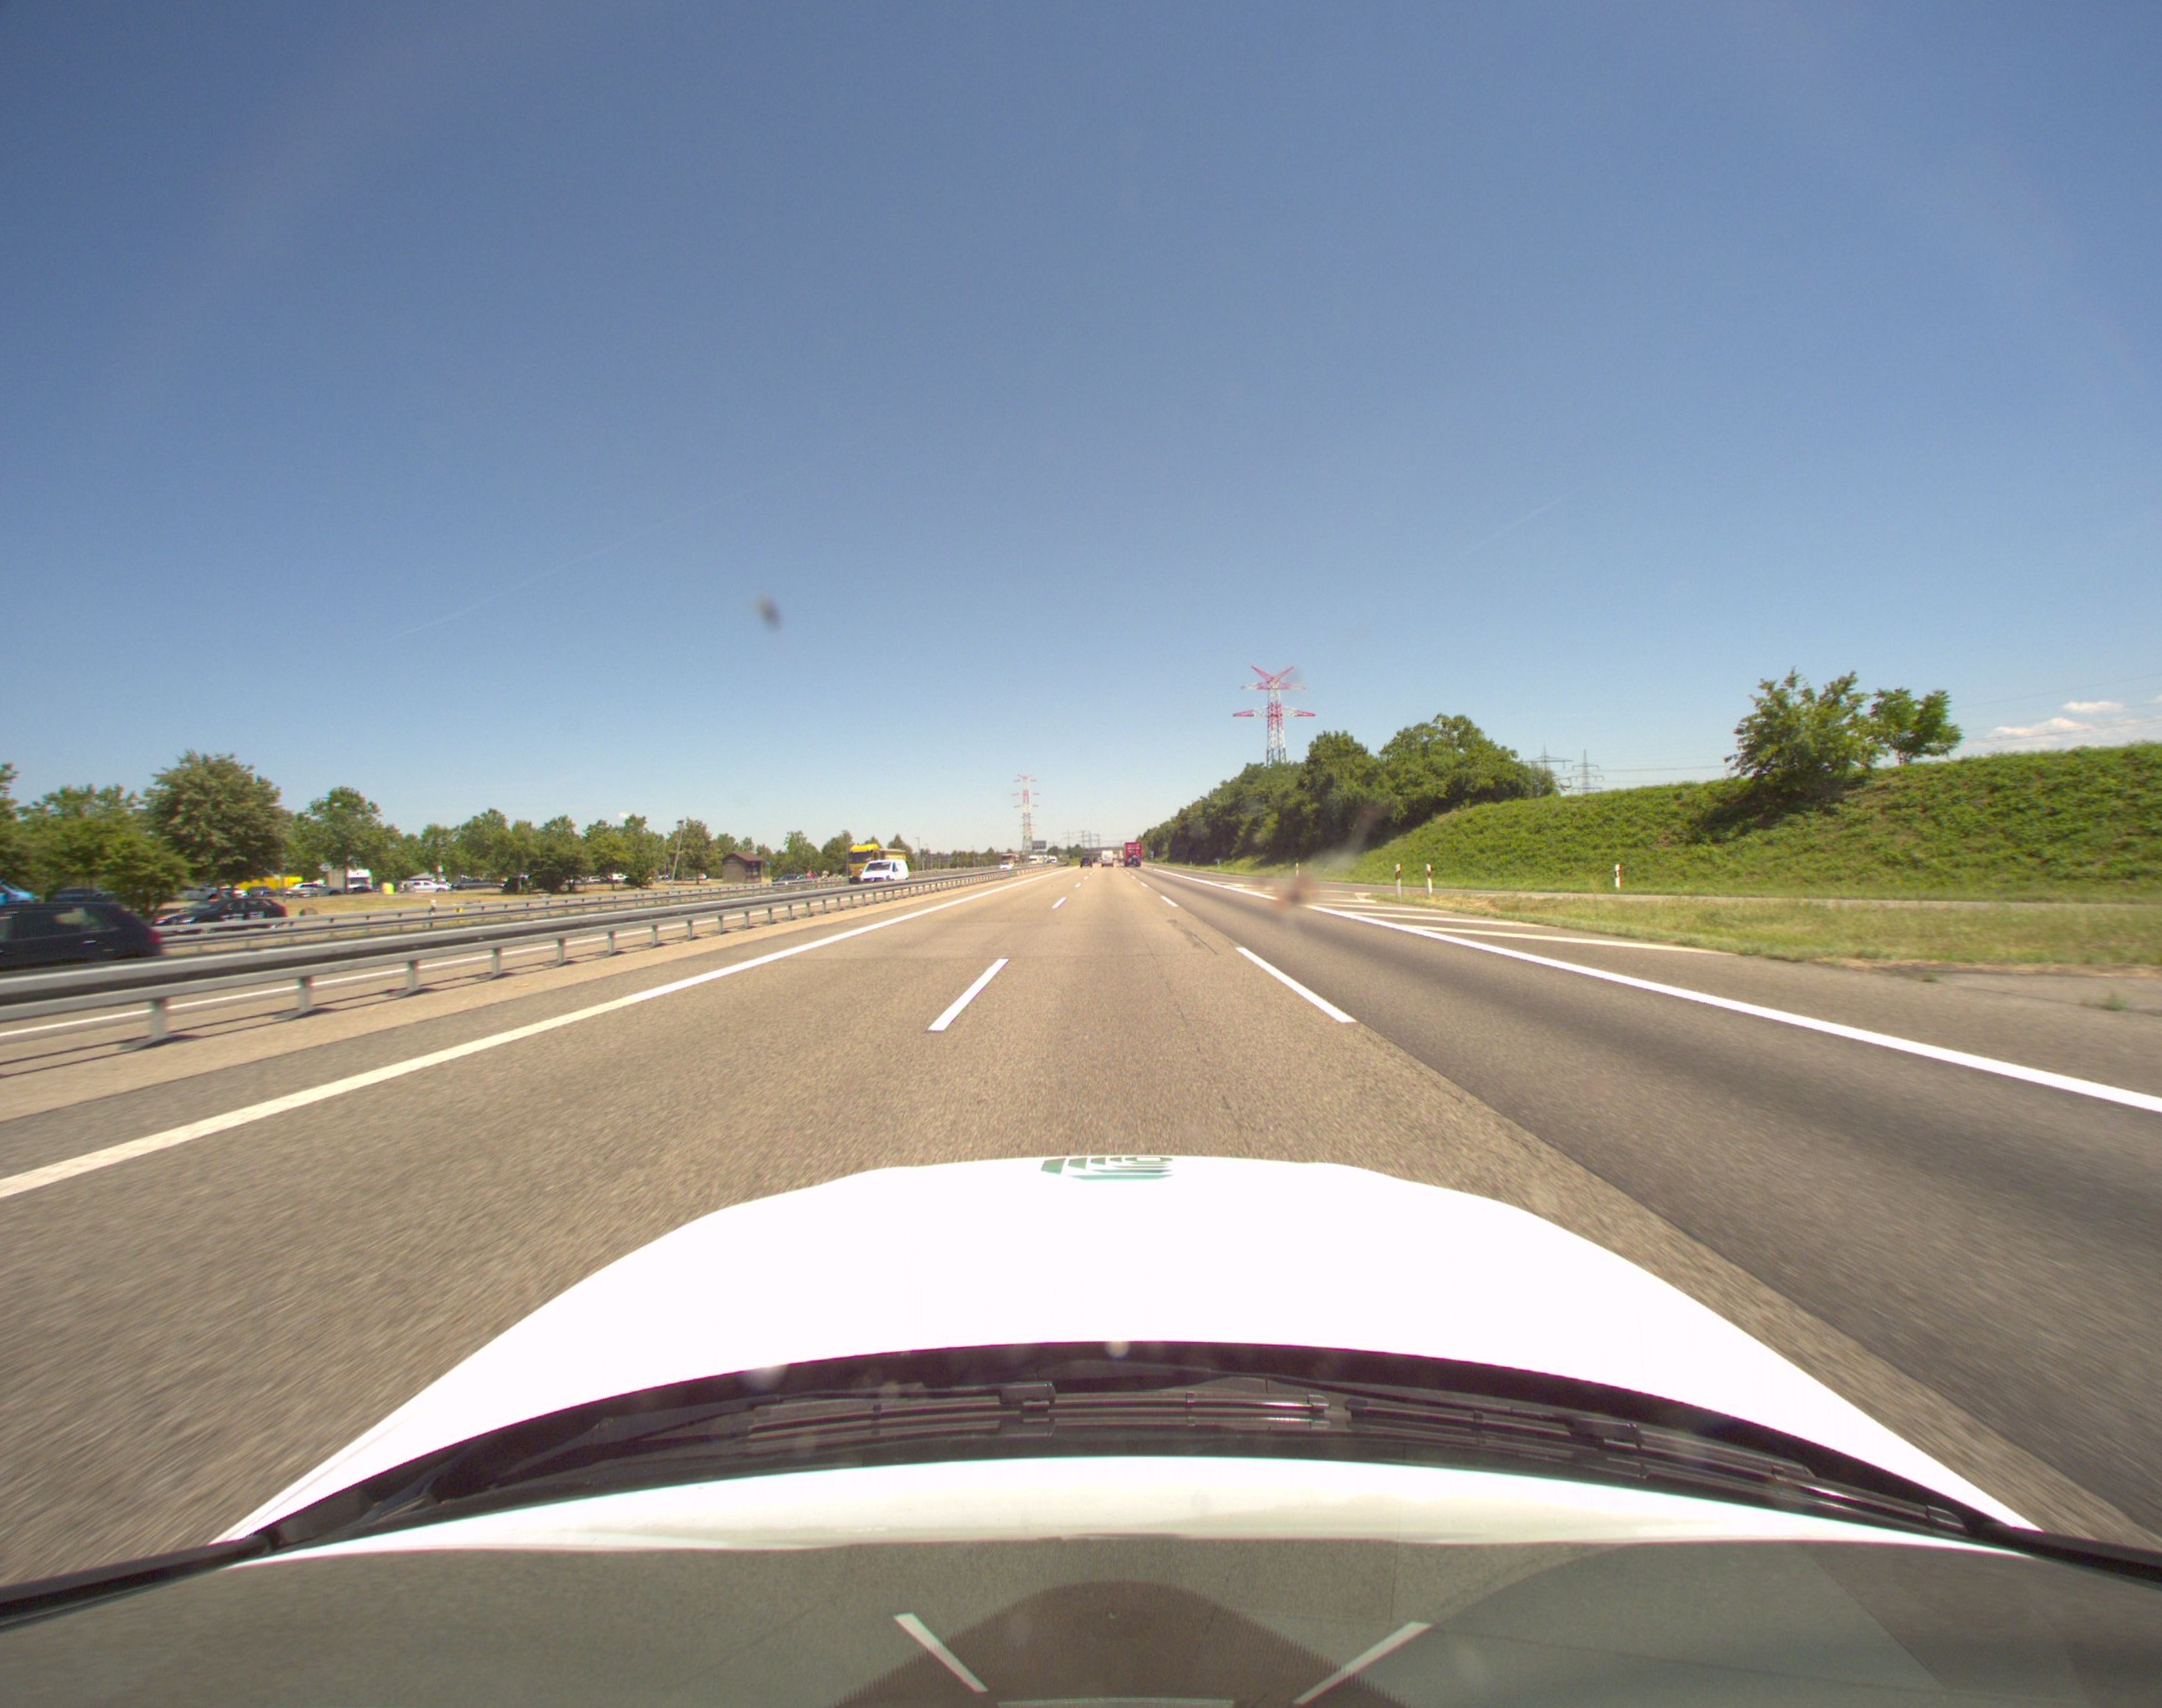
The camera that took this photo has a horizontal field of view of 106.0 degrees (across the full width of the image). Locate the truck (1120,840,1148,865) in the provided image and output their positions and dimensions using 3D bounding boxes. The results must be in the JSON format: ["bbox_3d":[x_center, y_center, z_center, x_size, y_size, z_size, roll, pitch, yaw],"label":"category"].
[{"bbox_3d":[8.957,-0.287,139.334,4.315,3.941,16.084,0,0,2],"label":"truck"}]

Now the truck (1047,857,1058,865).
[{"bbox_3d":[-8.880,2.120,256.665,2.707,2.421,8.110,-2,0,2],"label":"truck"}]

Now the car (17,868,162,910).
[{"bbox_3d":[-71.918,2.463,59.268,6.232,2.749,2.451,0,0,-36],"label":"car"}]

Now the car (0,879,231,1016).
[{"bbox_3d":[-13.871,1.221,9.769,2.045,1.551,4.891,-4,0,1],"label":"car"}]

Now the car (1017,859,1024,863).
[{"bbox_3d":[-19.043,2.188,256.054,1.809,1.390,3.904,-2,0,1],"label":"car"}]

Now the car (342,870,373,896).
[{"bbox_3d":[-91.875,3.625,103.462,2.767,3.178,6.250,0,0,-40],"label":"car"}]

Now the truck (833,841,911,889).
[{"bbox_3d":[-18.803,0.925,74.532,3.159,3.810,13.536,-2,0,2],"label":"truck"}]

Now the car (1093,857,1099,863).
[{"bbox_3d":[4.464,1.763,236.277,1.741,1.634,4.005,0,0,1],"label":"car"}]

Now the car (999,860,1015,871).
[{"bbox_3d":[-12.625,1.962,139.579,2.045,1.842,5.474,-2,0,1],"label":"car"}]

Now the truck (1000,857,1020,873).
[{"bbox_3d":[-15.388,2.368,177.736,2.707,3.259,12.394,-2,0,2],"label":"truck"}]

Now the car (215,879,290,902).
[{"bbox_3d":[-92.406,4.053,90.824,6.265,2.355,2.761,0,0,10],"label":"car"}]

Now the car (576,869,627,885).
[{"bbox_3d":[-69.300,3.333,117.792,6.232,2.124,2.451,-1,0,-36],"label":"car"}]

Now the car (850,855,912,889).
[{"bbox_3d":[-11.904,1.051,48.920,2.045,1.842,5.944,-2,0,1],"label":"car"}]

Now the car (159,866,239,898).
[{"bbox_3d":[-107.426,3.347,99.359,2.734,3.701,6.326,0,0,1],"label":"car"}]

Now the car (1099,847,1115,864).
[{"bbox_3d":[4.355,0.253,137.572,2.611,2.759,6.098,0,0,1],"label":"car"}]

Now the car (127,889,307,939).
[{"bbox_3d":[-35.275,2.393,33.493,2.045,1.551,4.891,-4,0,1],"label":"car"}]

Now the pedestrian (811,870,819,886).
[{"bbox_3d":[-26.125,2.338,80.021,0.495,1.503,0.501,-1,0,10],"label":"pedestrian"}]

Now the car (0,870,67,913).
[{"bbox_3d":[-71.926,2.469,53.447,6.232,2.749,2.451,0,0,-36],"label":"car"}]

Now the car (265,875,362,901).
[{"bbox_3d":[-70.903,3.098,75.416,6.232,2.124,2.451,-1,0,-36],"label":"car"}]

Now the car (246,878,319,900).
[{"bbox_3d":[-91.871,4.045,93.739,6.265,2.355,2.761,0,0,10],"label":"car"}]

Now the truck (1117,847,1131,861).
[{"bbox_3d":[13.675,0.034,261.955,4.315,4.524,16.084,0,0,2],"label":"truck"}]

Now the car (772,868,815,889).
[{"bbox_3d":[-27.667,2.312,78.622,2.045,1.842,5.474,-2,0,1],"label":"car"}]

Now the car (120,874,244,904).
[{"bbox_3d":[-71.947,2.770,65.362,6.232,2.124,2.451,-1,0,-36],"label":"car"}]

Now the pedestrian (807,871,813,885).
[{"bbox_3d":[-26.406,2.341,79.390,0.502,1.422,0.495,0,0,-32],"label":"pedestrian"}]

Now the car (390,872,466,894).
[{"bbox_3d":[-69.855,3.077,87.253,6.232,2.124,2.451,-1,0,-36],"label":"car"}]

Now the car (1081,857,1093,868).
[{"bbox_3d":[0.969,1.412,133.565,1.986,1.750,4.001,0,0,1],"label":"car"}]

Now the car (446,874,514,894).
[{"bbox_3d":[-69.973,3.470,94.964,6.232,2.124,2.451,-1,0,-36],"label":"car"}]
